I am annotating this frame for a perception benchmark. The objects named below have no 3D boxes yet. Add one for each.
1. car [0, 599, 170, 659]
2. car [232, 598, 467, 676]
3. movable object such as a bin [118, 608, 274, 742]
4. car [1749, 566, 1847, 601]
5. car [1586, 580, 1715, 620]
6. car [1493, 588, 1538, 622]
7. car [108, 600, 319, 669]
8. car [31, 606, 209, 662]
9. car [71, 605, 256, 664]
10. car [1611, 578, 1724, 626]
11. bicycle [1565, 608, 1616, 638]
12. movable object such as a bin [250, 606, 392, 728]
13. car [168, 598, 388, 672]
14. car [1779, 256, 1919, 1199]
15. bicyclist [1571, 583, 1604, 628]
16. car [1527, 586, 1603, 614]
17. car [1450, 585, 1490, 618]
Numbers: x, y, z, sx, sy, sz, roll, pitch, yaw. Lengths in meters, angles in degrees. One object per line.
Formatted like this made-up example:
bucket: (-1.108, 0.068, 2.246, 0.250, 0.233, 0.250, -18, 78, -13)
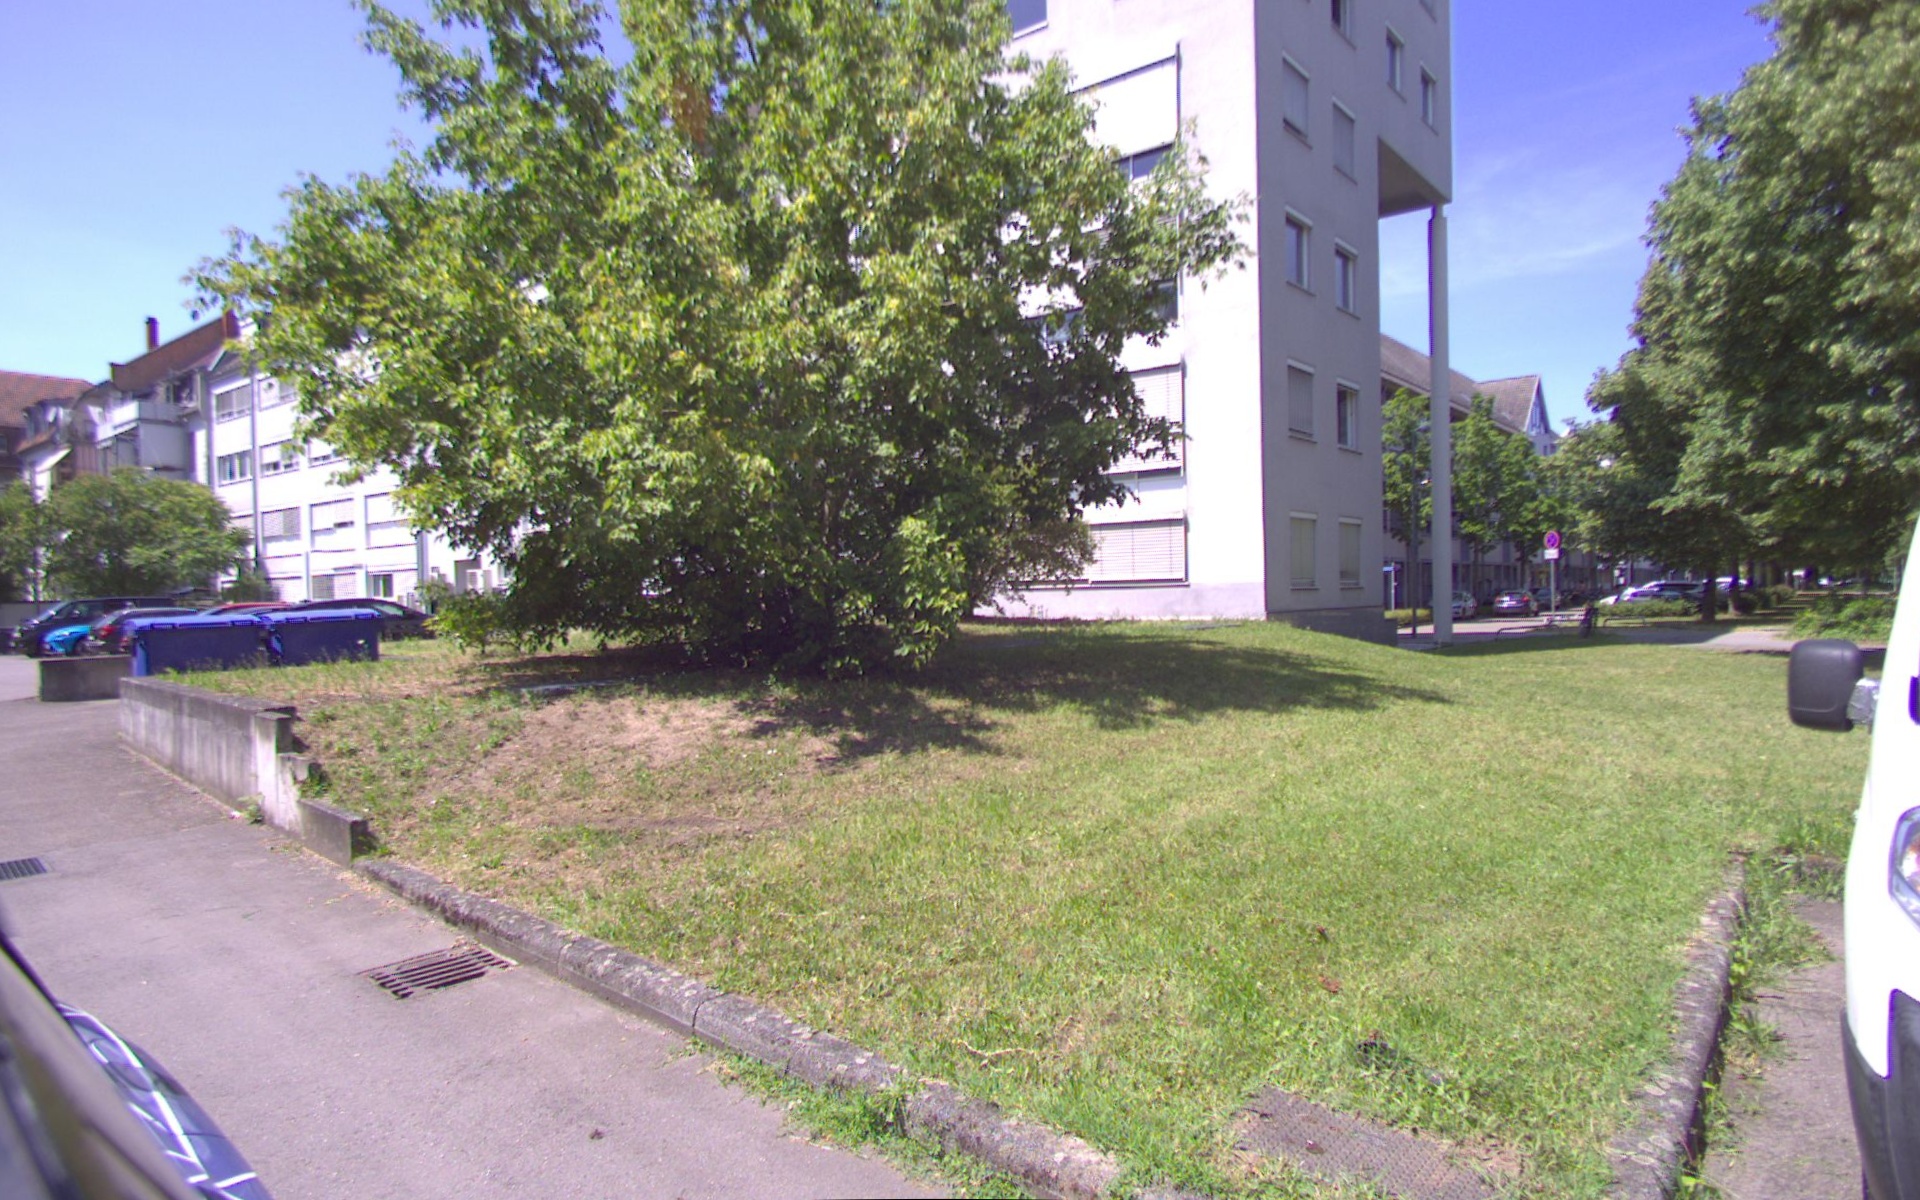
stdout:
car: (-29.535, 0.913, 34.126, 2.006, 1.837, 4.173, 0, 1, 37)
car: (-14.047, 0.773, 23.522, 1.610, 1.580, 4.392, 0, 1, 36)
movable object such as a bin: (-8.858, 0.815, 11.741, 1.095, 1.399, 1.254, 0, 1, 42)
car: (44.781, -0.858, 54.142, 3.997, 1.780, 1.806, 0, 1, 40)
car: (29.106, -0.007, 42.721, 4.338, 1.622, 1.908, 0, 1, 40)
car: (27.645, 0.228, 50.455, 1.799, 1.615, 3.859, 0, 1, 27)
car: (-19.435, 0.837, 26.509, 1.610, 1.580, 4.173, 0, 1, 36)
car: (-26.957, 1.028, 32.605, 1.610, 1.580, 4.173, 0, 1, 36)
car: (-24.296, 0.996, 30.994, 1.610, 1.580, 4.173, 0, 1, 36)
car: (31.707, 0.069, 45.394, 3.997, 2.029, 1.973, 0, 1, 40)
bicycle: (15.402, 0.552, 24.724, 0.734, 0.646, 1.593, -4, -2, 43)
movable object such as a bin: (-8.023, 0.790, 12.713, 1.095, 1.399, 1.254, 0, 1, 42)
car: (-16.562, 0.789, 24.766, 1.610, 1.580, 4.173, 0, 1, 36)
car: (3.781, 0.368, 2.697, 2.068, 1.897, 4.793, 0, 1, 44)
bicyclist: (15.237, 0.134, 24.568, 0.518, 1.053, 0.515, -4, -3, 44)
car: (37.647, 0.006, 63.036, 3.891, 1.643, 1.514, 0, 1, 40)
car: (26.404, 0.056, 52.437, 1.799, 1.615, 3.859, 0, 1, 27)
